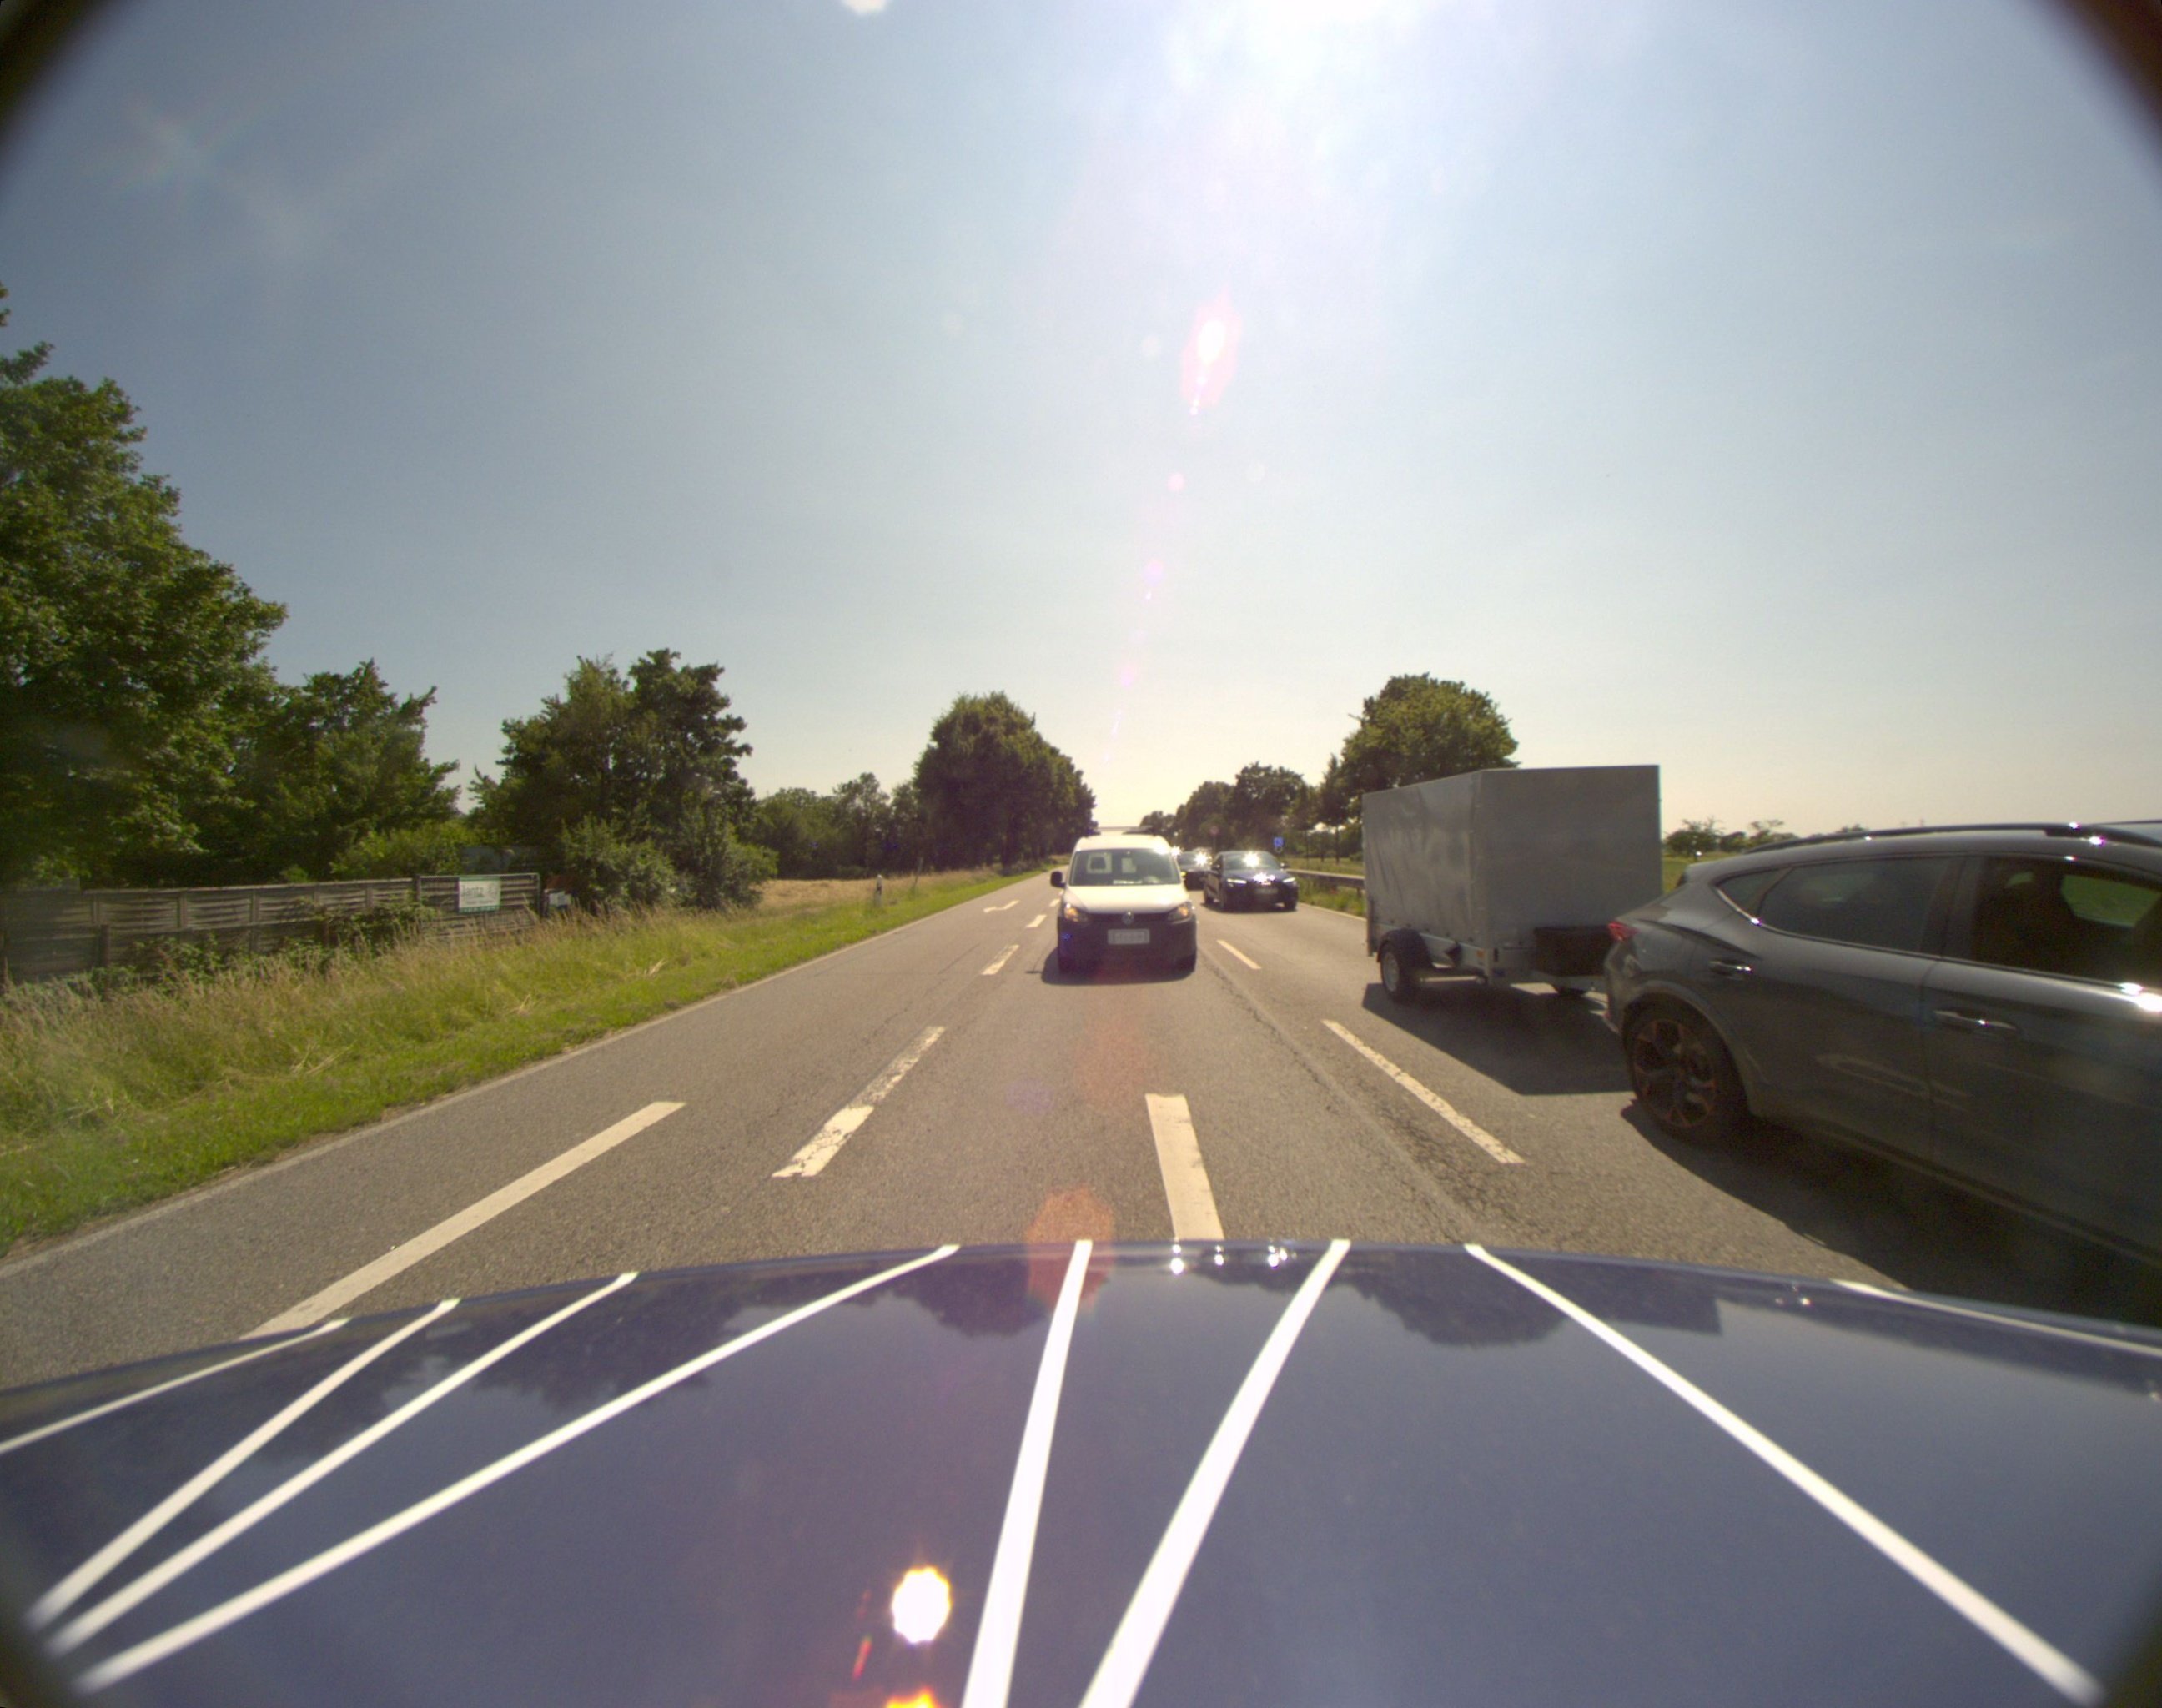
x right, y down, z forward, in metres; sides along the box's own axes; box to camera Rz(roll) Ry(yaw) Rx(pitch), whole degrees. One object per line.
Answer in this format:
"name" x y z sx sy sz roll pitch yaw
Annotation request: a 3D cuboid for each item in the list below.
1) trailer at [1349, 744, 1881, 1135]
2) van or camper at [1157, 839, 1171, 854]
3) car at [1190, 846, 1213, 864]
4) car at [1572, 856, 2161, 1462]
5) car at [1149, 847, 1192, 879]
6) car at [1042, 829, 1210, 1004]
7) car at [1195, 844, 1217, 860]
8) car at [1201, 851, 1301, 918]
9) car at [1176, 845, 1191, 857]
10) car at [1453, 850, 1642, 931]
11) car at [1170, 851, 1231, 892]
"trailer" 3.743 0.474 6.358 1.504 2.160 4.174 -2 0 0
"van or camper" 17.030 -1.519 156.514 2.269 3.081 5.695 0 1 0
"car" 11.342 0.079 71.738 1.749 1.629 4.136 0 0 3
"car" 3.661 0.801 2.164 1.750 1.494 4.363 -2 0 1
"car" 4.531 0.436 38.929 1.860 1.507 4.100 -2 1 2
"car" 0.567 0.666 10.683 1.777 1.863 4.581 -3 1 2
"car" 15.988 -0.285 97.492 1.998 1.920 5.015 0 0 0
"car" 4.236 0.693 19.526 1.721 1.456 4.030 -2 1 1
"car" 17.007 -0.484 126.152 1.862 1.845 4.696 0 0 0
"car" 10.282 0.717 17.171 1.750 1.608 4.135 0 0 0
"car" 4.534 0.626 29.417 1.744 1.372 4.455 -2 1 2
